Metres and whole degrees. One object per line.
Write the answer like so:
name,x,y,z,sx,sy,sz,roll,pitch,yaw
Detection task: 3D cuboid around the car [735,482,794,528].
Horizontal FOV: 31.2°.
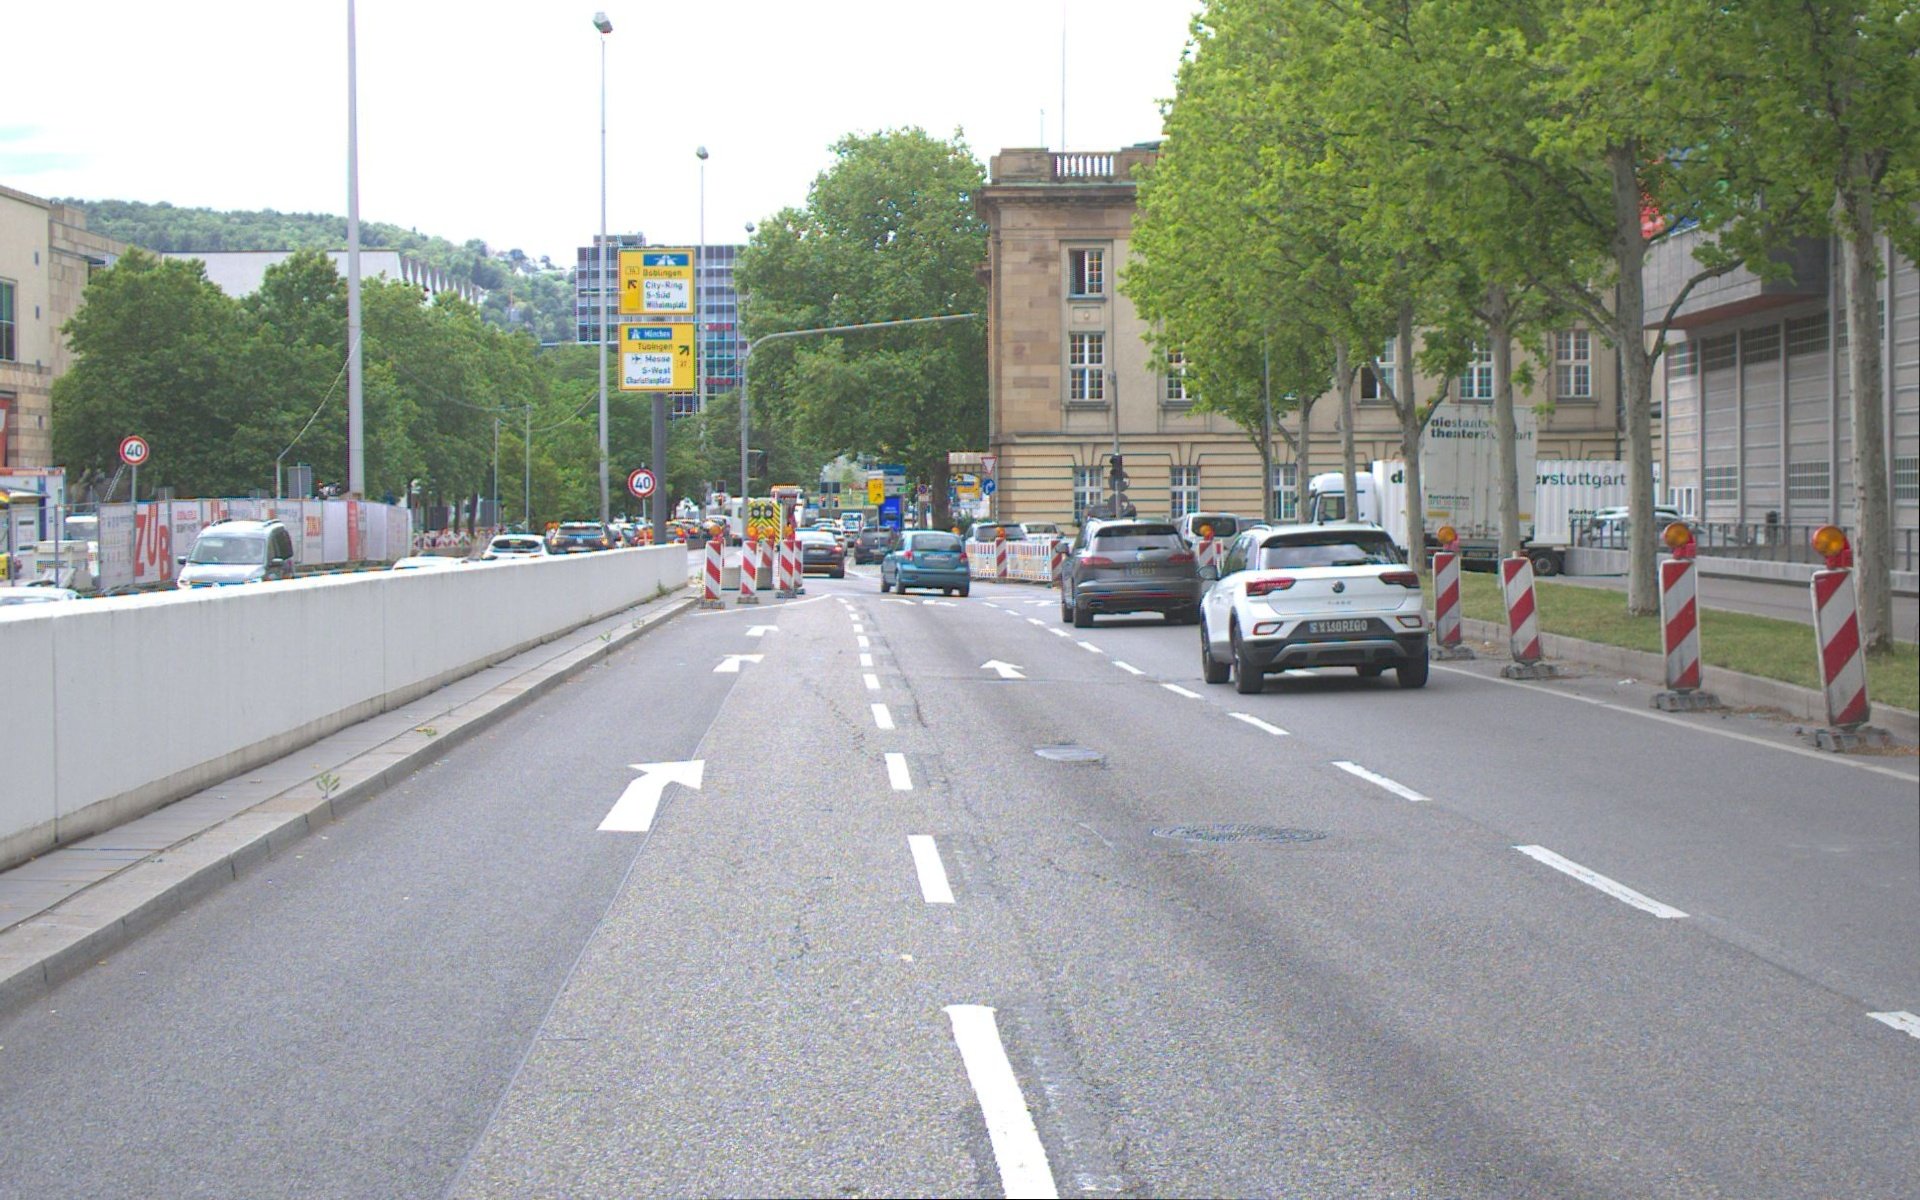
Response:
car,-10.295,-5.011,181.473,2.582,2.366,5.526,-1,2,3

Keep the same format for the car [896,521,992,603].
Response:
car,-0.333,-0.891,78.320,1.823,1.734,4.479,0,2,4

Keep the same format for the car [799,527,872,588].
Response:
car,-3.795,-1.311,105.092,1.823,1.734,4.480,-1,2,3

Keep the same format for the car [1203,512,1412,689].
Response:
car,3.293,-0.049,33.263,1.751,1.562,4.331,-1,1,3

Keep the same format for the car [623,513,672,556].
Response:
car,-11.703,-2.453,128.929,1.750,1.562,4.332,0,1,-5

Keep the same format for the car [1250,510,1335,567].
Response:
car,9.342,-1.734,96.890,1.856,1.562,4.332,0,1,-1

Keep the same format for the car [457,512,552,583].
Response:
car,-10.481,-1.225,79.284,1.750,1.562,3.377,1,2,-1

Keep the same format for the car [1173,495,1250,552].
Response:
car,7.090,-2.141,97.183,1.750,1.562,4.332,0,1,-1

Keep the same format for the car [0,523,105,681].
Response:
car,-13.517,-0.018,48.560,1.993,2.006,4.001,0,3,-2

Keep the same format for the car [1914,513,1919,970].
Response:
car,4.481,0.542,10.145,1.811,1.637,4.553,0,1,-3

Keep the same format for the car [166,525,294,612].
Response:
car,-14.223,-0.643,67.159,1.750,1.562,3.377,-2,2,-1

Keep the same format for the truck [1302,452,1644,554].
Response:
truck,15.606,-2.944,105.022,10.029,3.040,2.569,0,1,-1

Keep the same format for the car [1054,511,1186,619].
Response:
car,2.474,-0.581,53.956,1.823,1.562,4.480,-2,1,0

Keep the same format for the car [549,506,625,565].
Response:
car,-10.544,-1.836,97.294,1.750,1.562,3.377,-2,2,-1
